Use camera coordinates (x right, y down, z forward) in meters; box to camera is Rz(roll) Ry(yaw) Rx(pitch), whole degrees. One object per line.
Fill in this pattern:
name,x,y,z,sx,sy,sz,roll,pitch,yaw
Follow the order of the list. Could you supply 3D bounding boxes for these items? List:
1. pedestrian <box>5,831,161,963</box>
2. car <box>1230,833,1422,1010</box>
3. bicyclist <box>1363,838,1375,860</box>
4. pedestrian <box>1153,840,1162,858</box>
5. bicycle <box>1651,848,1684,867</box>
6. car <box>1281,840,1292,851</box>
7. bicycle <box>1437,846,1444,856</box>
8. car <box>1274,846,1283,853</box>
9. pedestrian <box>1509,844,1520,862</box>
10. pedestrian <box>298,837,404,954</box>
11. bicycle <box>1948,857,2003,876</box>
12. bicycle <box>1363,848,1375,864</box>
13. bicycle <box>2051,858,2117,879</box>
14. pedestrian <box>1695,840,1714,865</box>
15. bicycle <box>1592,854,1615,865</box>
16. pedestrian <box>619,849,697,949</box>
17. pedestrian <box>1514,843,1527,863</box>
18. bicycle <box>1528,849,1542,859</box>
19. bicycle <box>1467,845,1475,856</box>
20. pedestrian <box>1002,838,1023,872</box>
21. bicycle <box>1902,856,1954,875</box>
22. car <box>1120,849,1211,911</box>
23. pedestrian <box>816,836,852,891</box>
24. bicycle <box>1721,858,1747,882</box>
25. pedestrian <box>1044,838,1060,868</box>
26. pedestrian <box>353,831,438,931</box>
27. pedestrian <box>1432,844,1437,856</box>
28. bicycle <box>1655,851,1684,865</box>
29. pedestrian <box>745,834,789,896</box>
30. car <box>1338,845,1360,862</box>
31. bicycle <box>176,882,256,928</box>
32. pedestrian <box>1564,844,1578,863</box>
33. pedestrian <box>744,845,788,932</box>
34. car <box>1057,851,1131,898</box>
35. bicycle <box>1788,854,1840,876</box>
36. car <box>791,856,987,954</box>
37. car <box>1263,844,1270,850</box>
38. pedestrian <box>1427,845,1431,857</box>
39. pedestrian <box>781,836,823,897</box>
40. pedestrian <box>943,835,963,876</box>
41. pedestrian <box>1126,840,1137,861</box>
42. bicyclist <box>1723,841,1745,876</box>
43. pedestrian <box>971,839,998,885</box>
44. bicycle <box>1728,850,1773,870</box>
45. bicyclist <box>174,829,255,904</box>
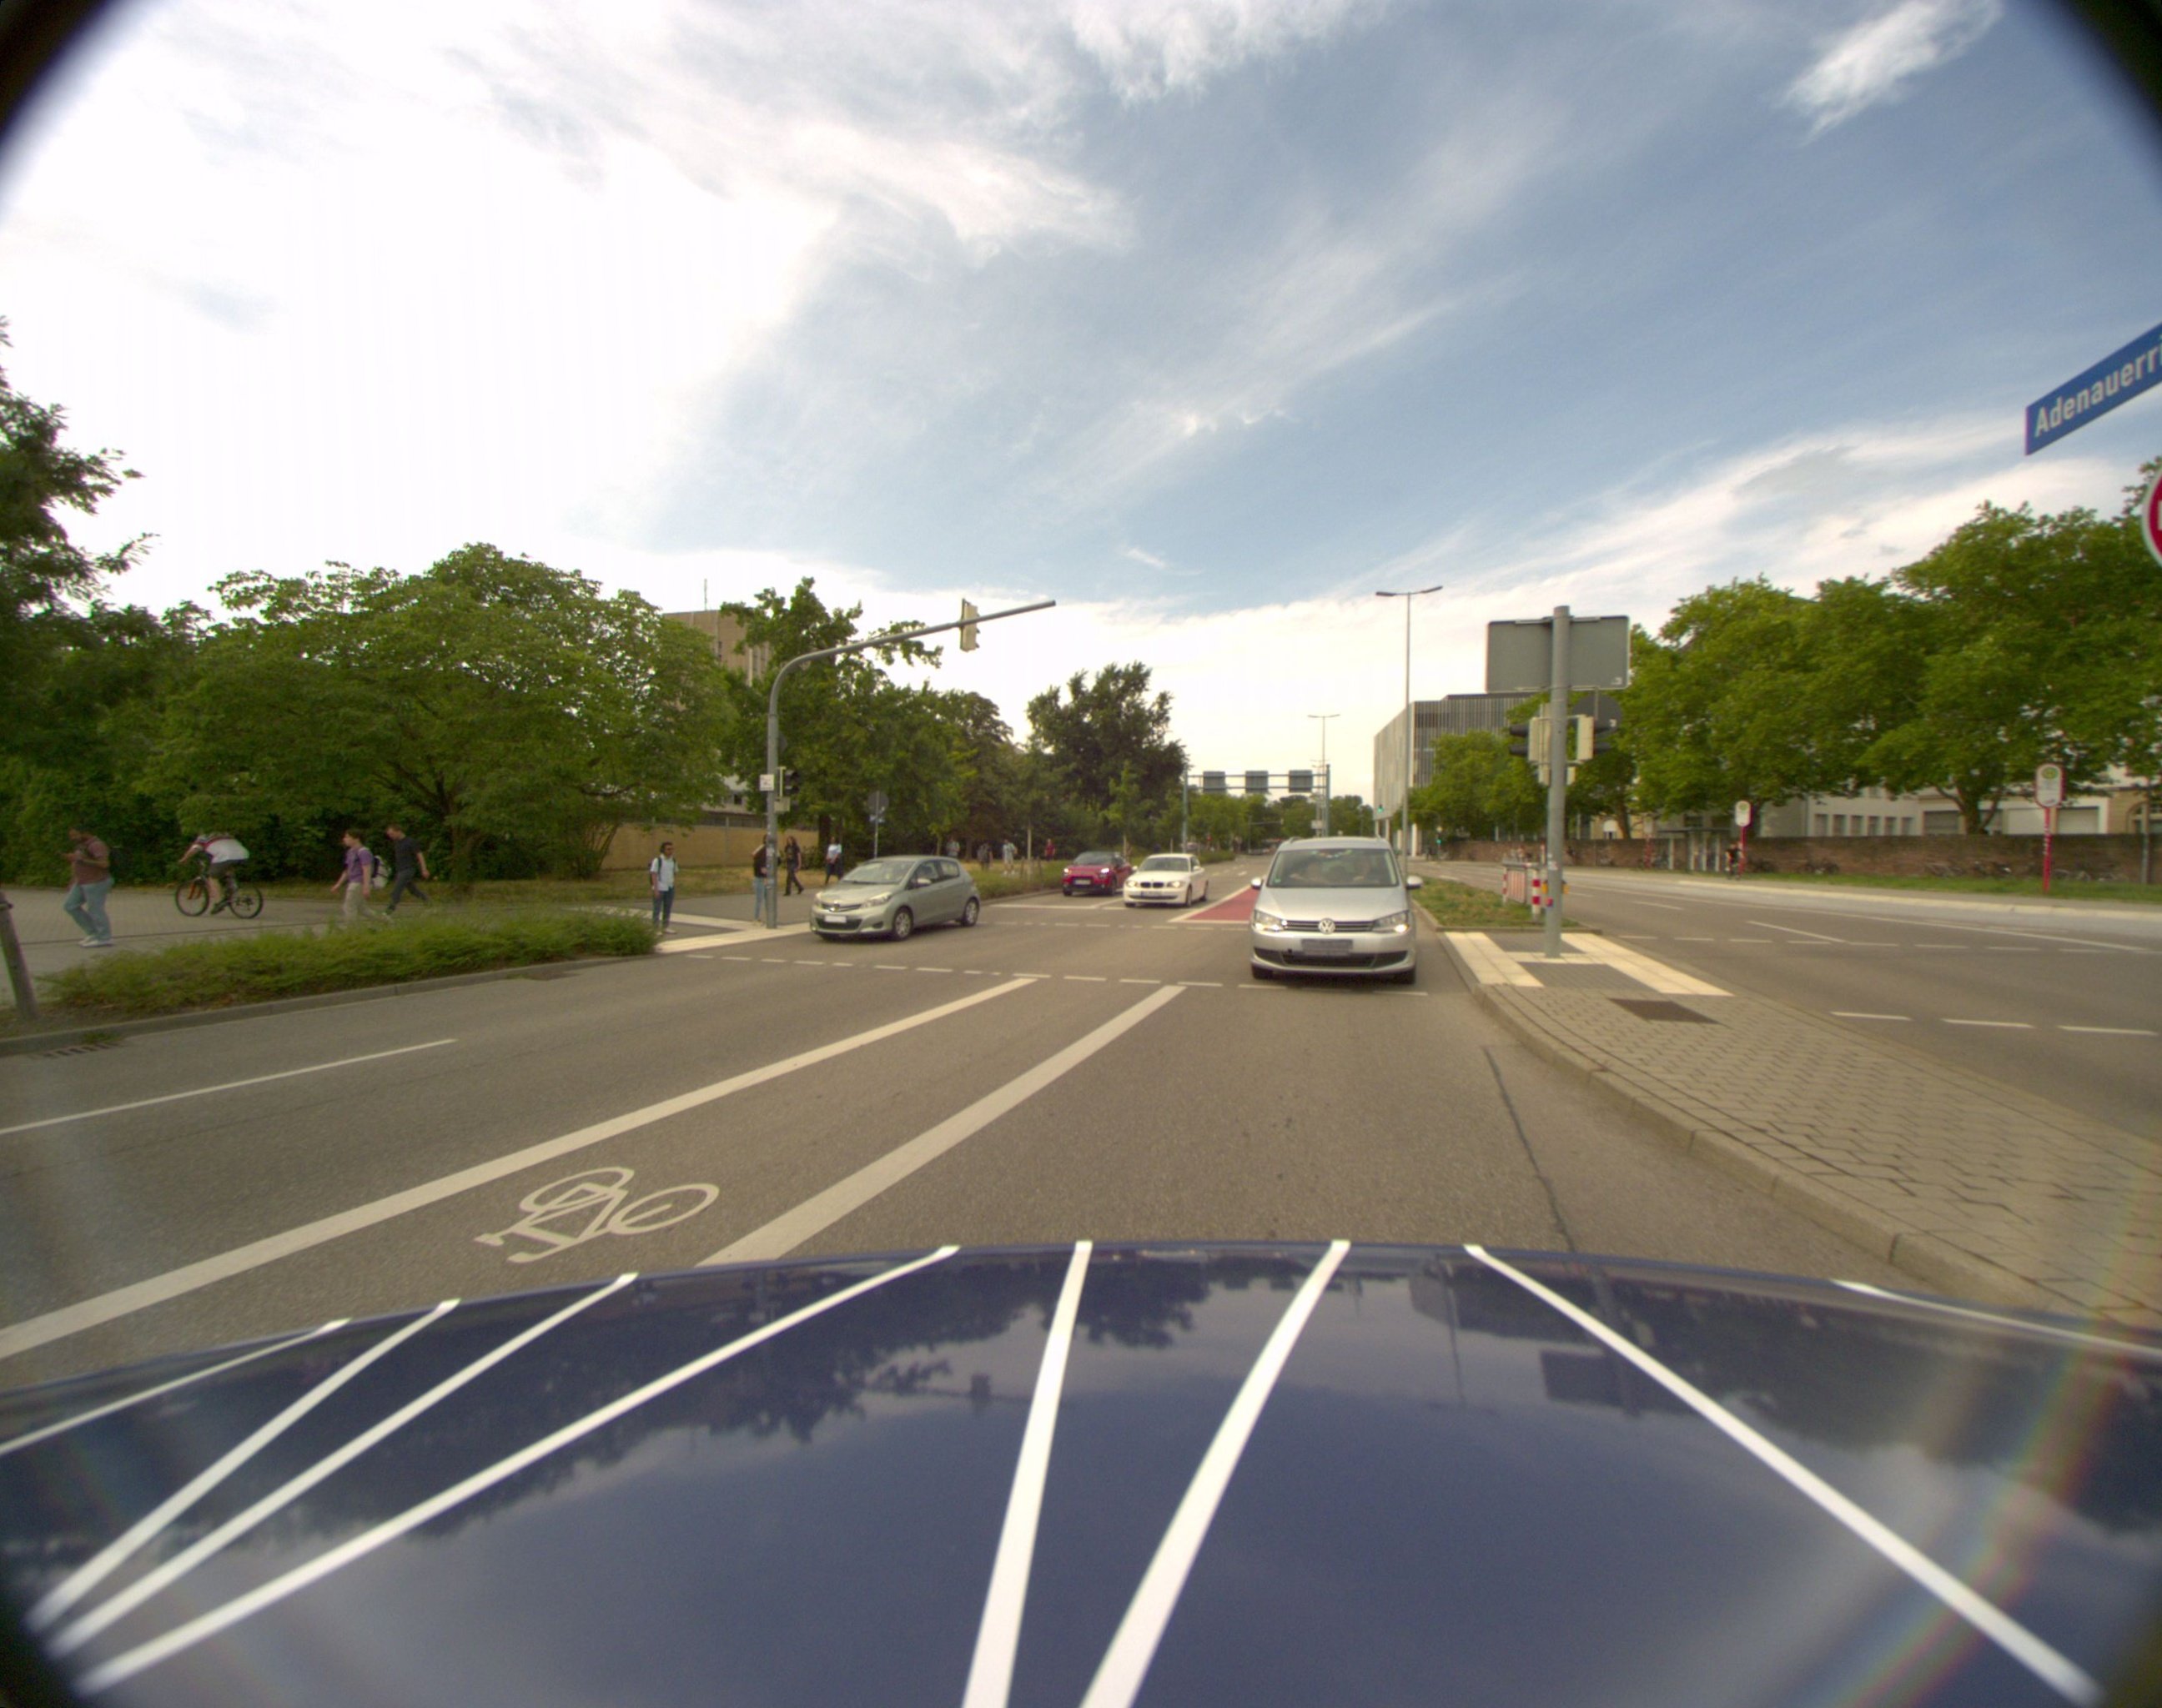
pedestrian,-13.607,0.547,10.383,0.838,1.701,1.014,-1,1,20
car,3.273,0.623,9.830,1.821,1.724,4.534,-1,1,21
bicyclist,22.561,-0.364,59.528,0.776,1.701,1.087,3,1,19
pedestrian,7.327,-0.519,72.424,0.713,1.701,0.696,-1,2,16
bicycle,39.693,0.216,51.407,2.101,1.182,0.757,2,1,-23
car,40.718,-1.657,150.784,1.996,2.002,4.004,-1,1,15
bicycle,45.568,-0.403,96.315,0.512,1.202,1.397,-1,1,16
car,51.505,-1.224,198.223,1.996,1.565,4.005,-1,1,20
pedestrian,39.589,-0.114,69.391,0.754,1.612,0.666,-1,1,11
pedestrian,-11.065,0.601,11.529,0.838,1.701,0.801,-1,2,20
bicycle,42.305,0.580,35.968,0.359,0.859,1.809,2,1,-4
bicycle,22.548,0.183,59.511,0.757,1.182,2.102,3,1,19
bicycle,42.997,0.613,32.591,0.359,0.859,1.707,2,1,-9
pedestrian,40.863,-0.085,49.819,0.568,1.612,0.754,-2,1,-6
bicycle,40.783,0.427,59.314,0.661,0.882,1.575,-3,0,-3
pedestrian,-7.516,0.771,13.523,0.798,1.701,0.841,-1,2,22
pedestrian,36.207,-0.072,62.594,0.754,1.612,0.666,-1,1,11
bicycle,41.518,-0.024,69.457,0.433,0.882,1.577,-3,0,6
bicycle,43.627,-0.383,84.981,0.512,1.202,1.397,-1,1,16
pedestrian,-3.480,0.062,38.691,0.841,1.701,0.695,-1,1,13
bicycle,42.126,0.555,37.803,0.359,0.859,1.821,2,1,-7
car,2.457,0.660,21.156,1.757,1.450,4.228,-1,1,16
pedestrian,-7.838,0.290,24.164,0.713,1.701,0.800,-1,1,13
bicycle,29.072,0.692,33.838,0.504,0.931,1.975,1,3,30
pedestrian,-1.666,-0.052,43.530,0.713,1.701,0.696,-1,2,16
pedestrian,-12.753,0.480,14.146,0.838,1.798,0.801,-1,2,20
pedestrian,43.185,-0.459,92.856,0.402,1.449,0.474,-1,2,11
bicycle,40.789,0.279,52.678,0.661,0.882,1.575,-3,0,-3
pedestrian,-8.890,0.307,21.569,0.839,1.701,0.800,-2,1,1
car,26.387,-0.087,74.970,1.786,1.481,4.134,2,2,16
bicycle,-15.292,0.870,13.474,1.840,0.690,0.845,-1,2,43
pedestrian,41.073,-0.036,63.627,0.756,1.612,0.664,-2,2,-24
pedestrian,-6.323,0.682,15.267,0.480,1.701,0.588,-1,2,22
car,0.507,0.649,25.613,1.668,1.407,3.460,-1,1,15
bicycle,41.291,0.602,42.831,0.758,1.182,2.097,2,1,-5
car,-3.465,0.857,14.507,1.668,1.481,3.881,-1,1,21
car,57.505,-2.197,235.567,1.996,2.002,4.004,-1,1,15
pedestrian,42.464,-0.387,92.704,0.402,1.449,0.474,-1,2,11
pedestrian,-7.953,0.346,21.688,0.839,1.701,0.800,-2,1,1
pedestrian,-5.407,0.068,32.149,0.543,1.687,0.695,2,2,13
pedestrian,4.132,-0.256,62.673,0.713,1.701,0.696,-1,2,16
bicyclist,29.066,0.192,33.828,0.578,1.547,0.799,1,4,31
pedestrian,-3.627,0.295,28.655,0.733,1.701,0.694,-1,2,20
bicycle,41.092,0.347,46.649,0.758,1.182,2.097,2,1,-5
bicyclist,-15.326,0.206,13.469,1.010,1.270,0.841,0,2,45
